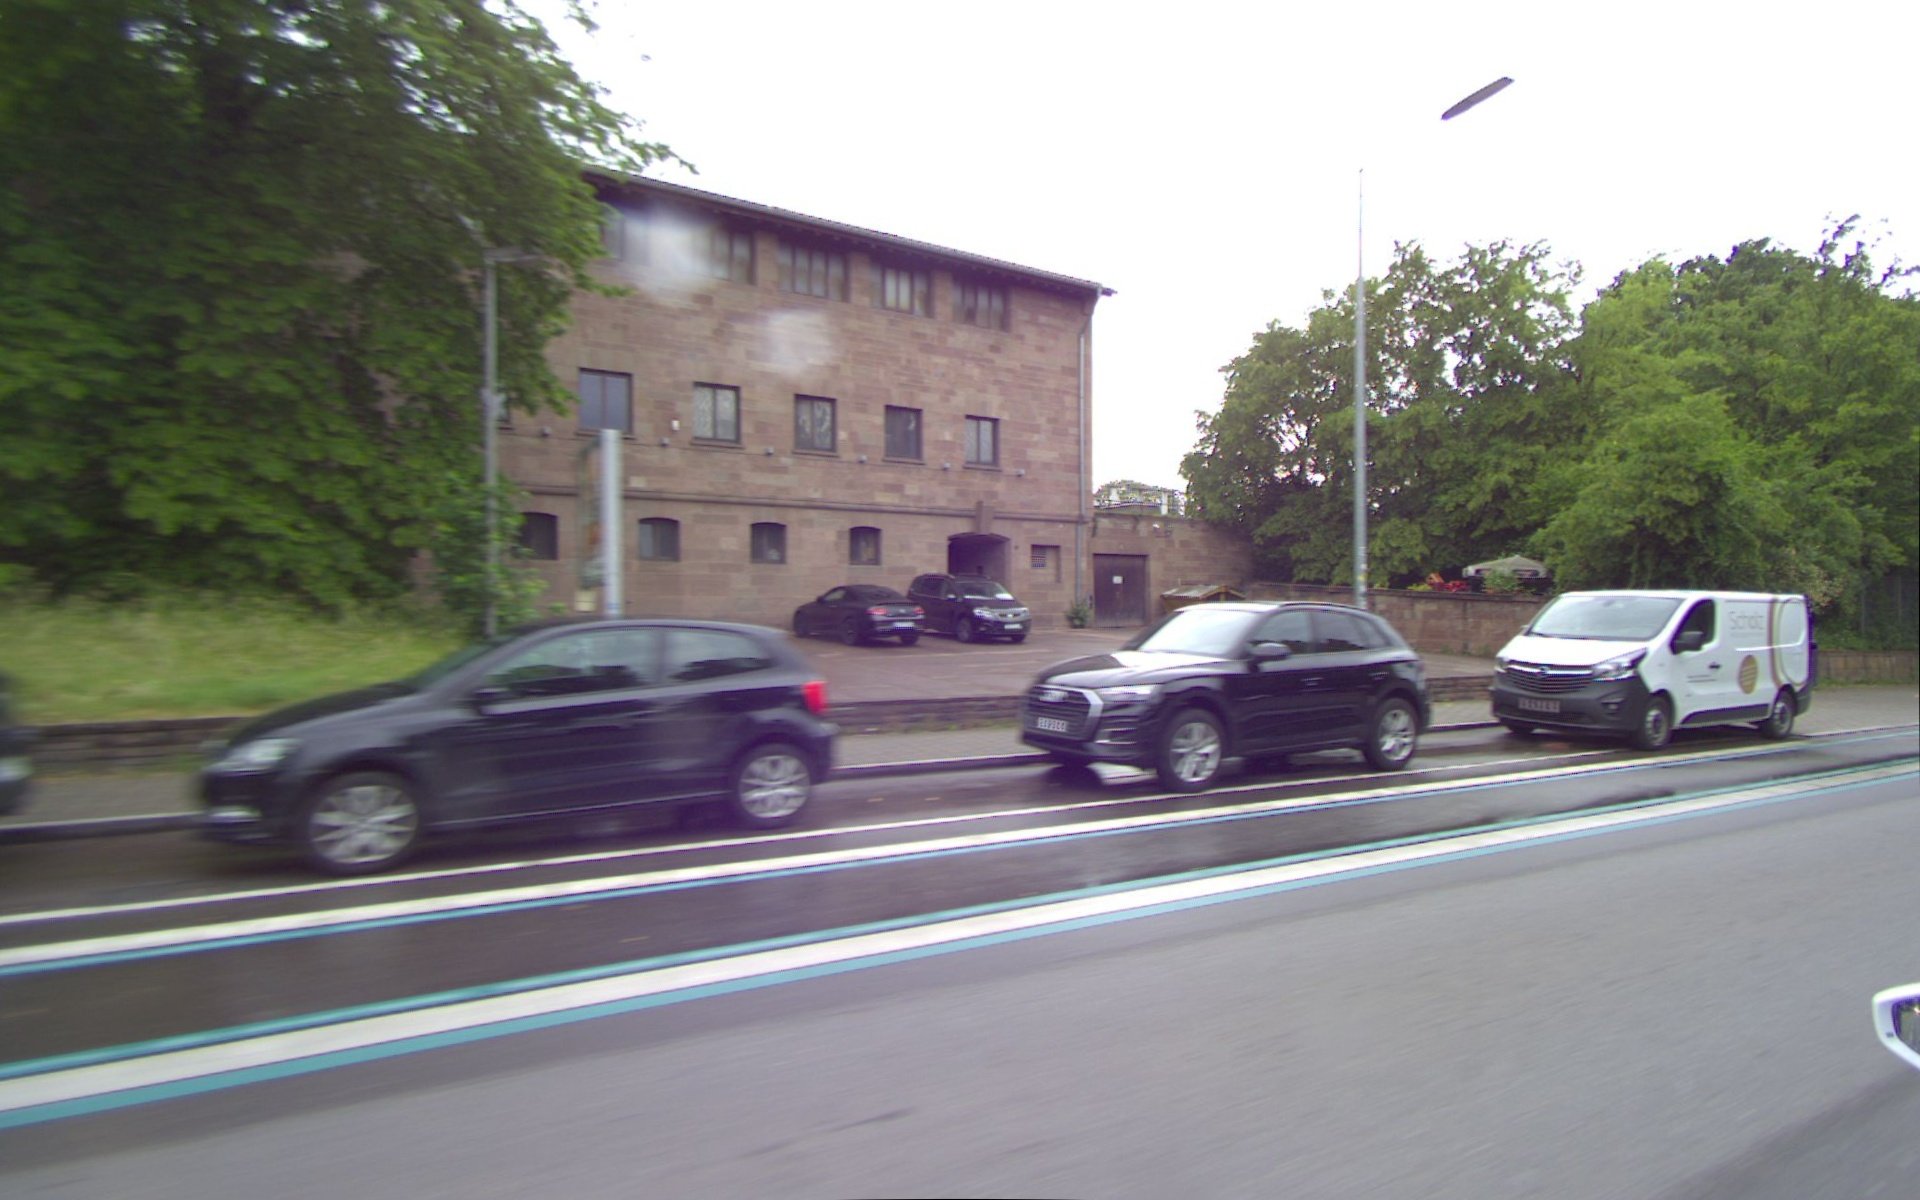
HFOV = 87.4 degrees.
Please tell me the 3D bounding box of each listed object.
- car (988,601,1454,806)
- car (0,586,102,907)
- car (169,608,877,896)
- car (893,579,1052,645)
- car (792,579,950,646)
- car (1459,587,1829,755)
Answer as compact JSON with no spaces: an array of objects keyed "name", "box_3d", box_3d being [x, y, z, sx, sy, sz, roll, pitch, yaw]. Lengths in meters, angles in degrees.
[{"name":"car","box_3d":[2.697,0.863,10.017,4.609,1.637,1.815,1,-1,-31]},{"name":"car","box_3d":[-6.741,0.678,4.510,4.100,1.524,1.702,1,-1,-29]},{"name":"car","box_3d":[-2.703,0.800,6.831,3.991,1.465,1.600,1,-1,-31]},{"name":"car","box_3d":[0.221,0.253,27.151,2.164,1.499,4.747,0,2,-30]},{"name":"car","box_3d":[-2.342,0.275,25.419,2.239,1.451,4.277,2,1,-33]},{"name":"car","box_3d":[9.343,0.837,13.632,5.161,1.940,1.971,1,0,-28]}]
